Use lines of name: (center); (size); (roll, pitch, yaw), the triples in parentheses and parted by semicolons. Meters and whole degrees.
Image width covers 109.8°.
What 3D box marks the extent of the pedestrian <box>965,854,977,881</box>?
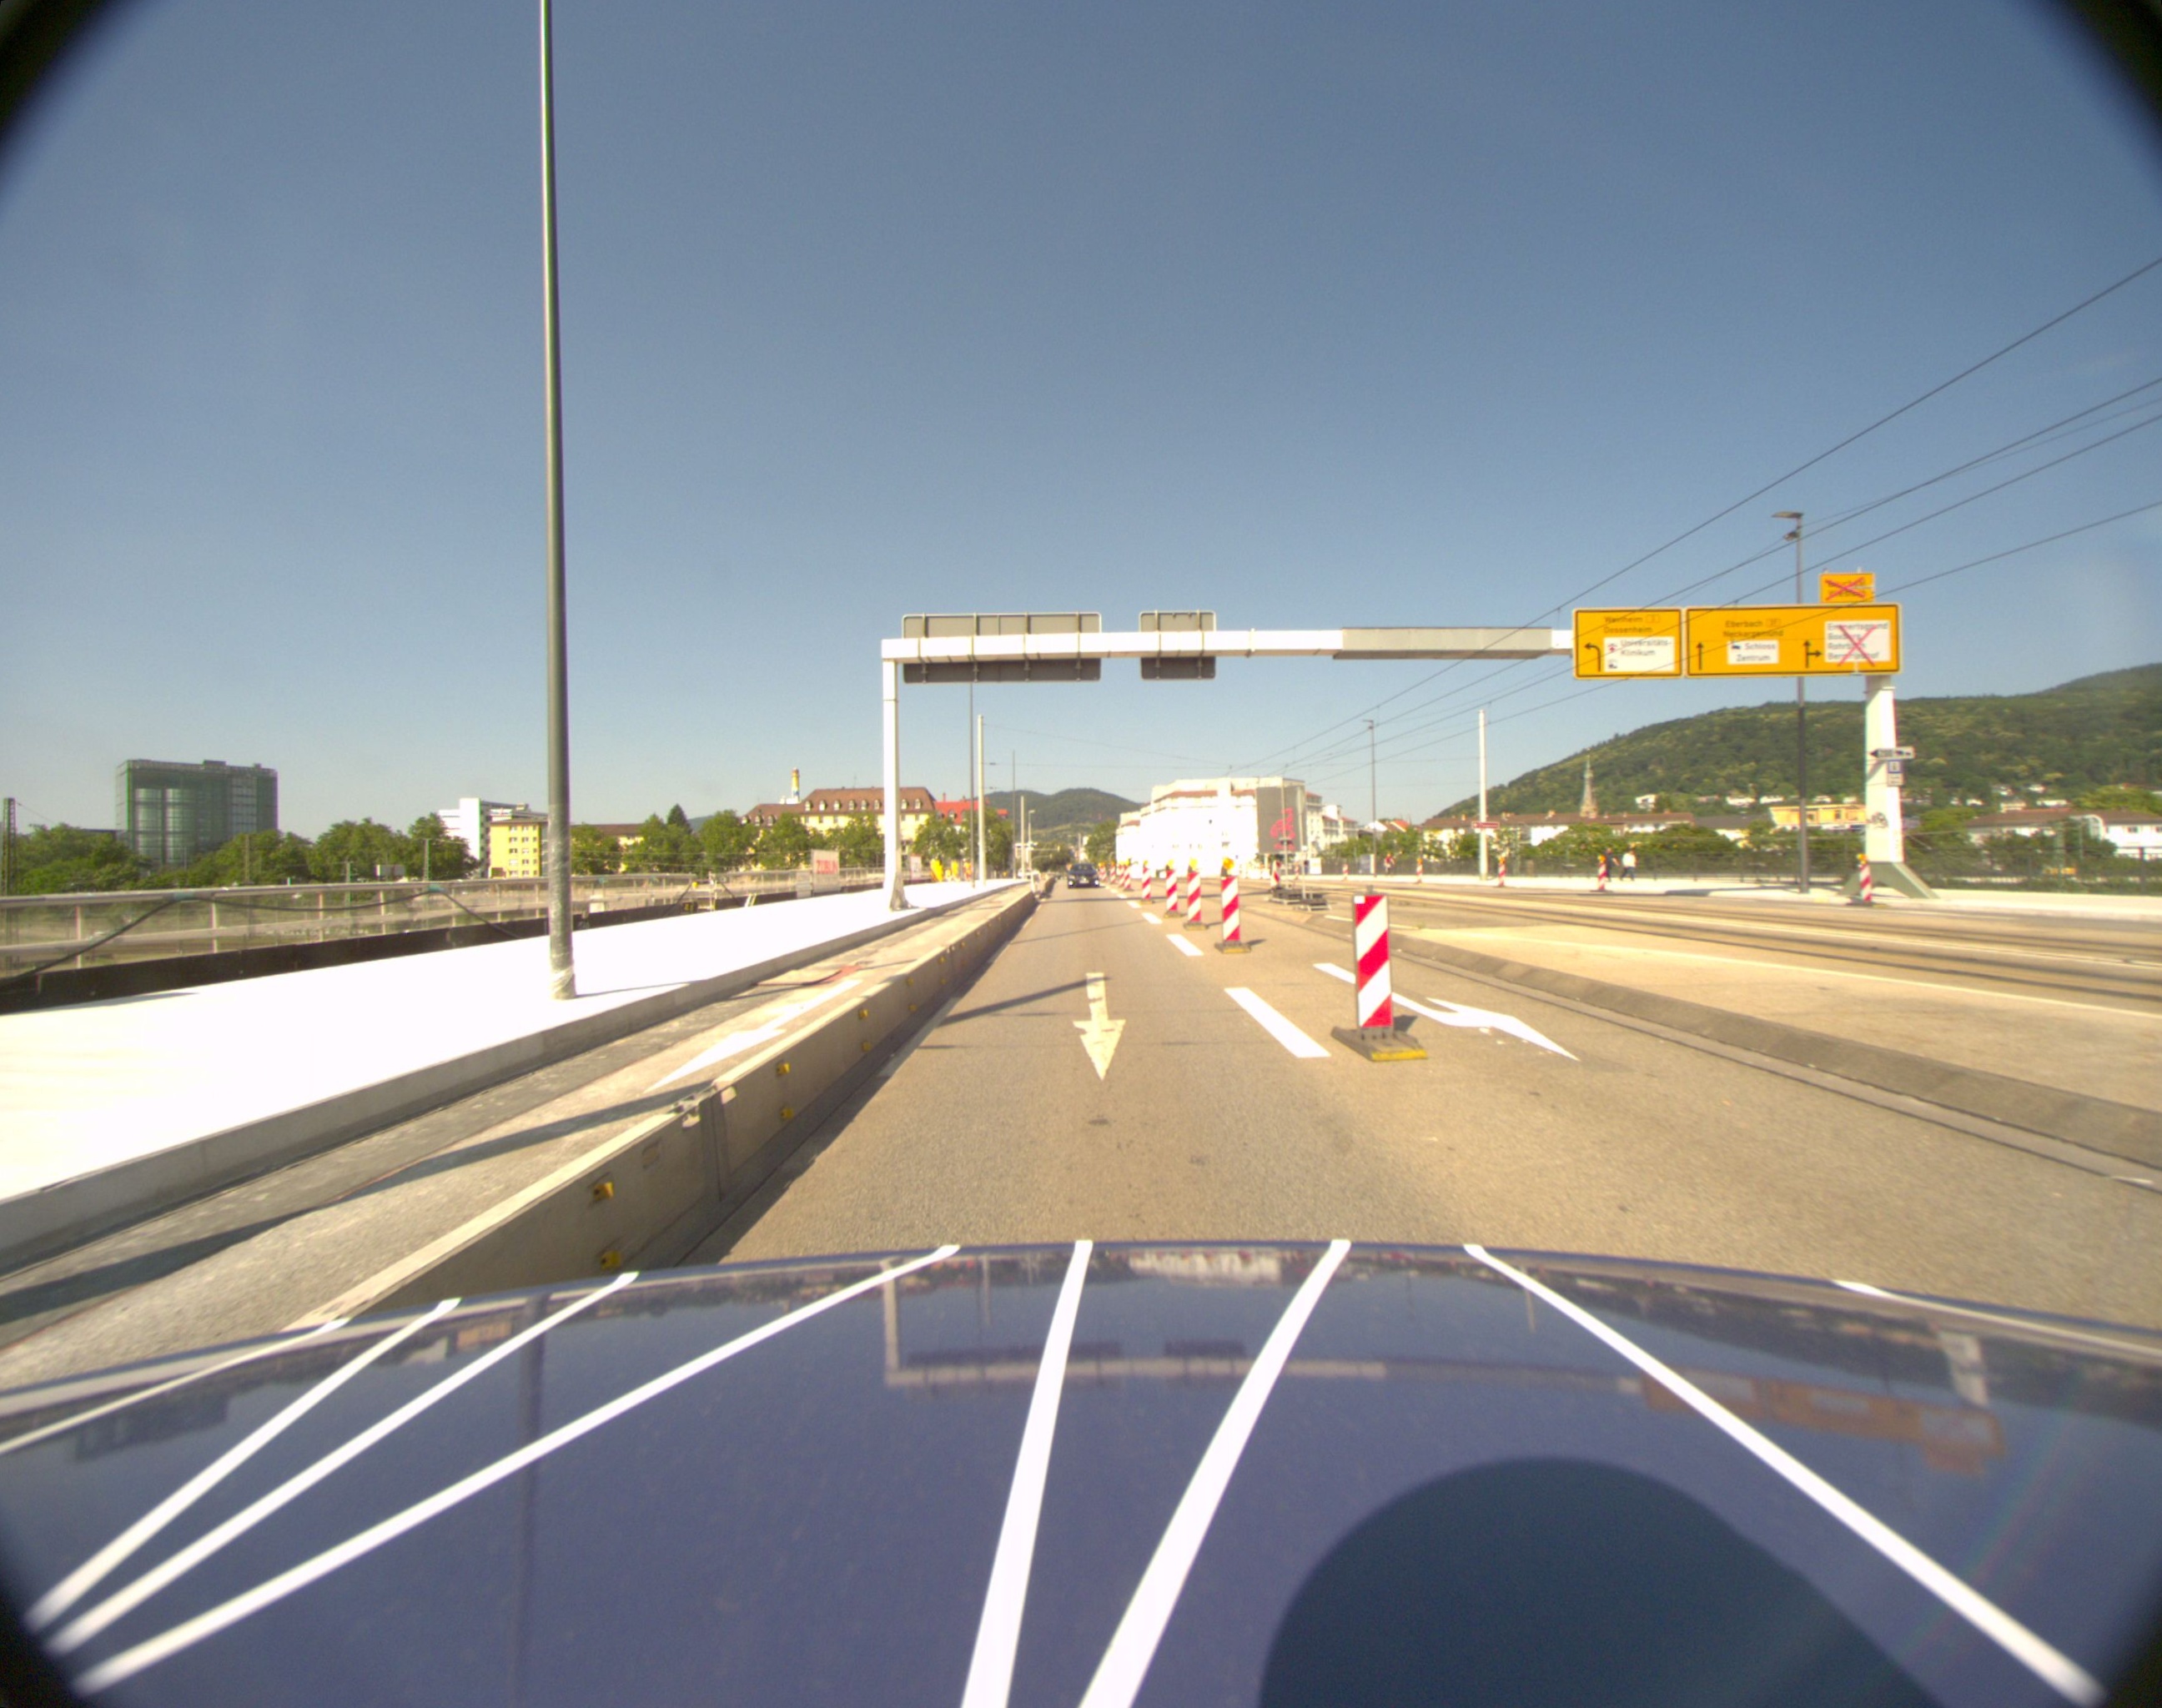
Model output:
pedestrian: (-8.236, 1.016, 56.887); (0.733, 1.953, 1.016); (0, 0, -1)

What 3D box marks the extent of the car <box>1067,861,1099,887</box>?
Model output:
car: (0.139, 1.113, 44.068); (1.698, 1.388, 4.363); (-3, 0, 1)

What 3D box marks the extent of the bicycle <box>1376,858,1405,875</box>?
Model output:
bicycle: (23.955, 0.965, 58.889); (0.858, 1.187, 3.072); (-2, -1, -2)

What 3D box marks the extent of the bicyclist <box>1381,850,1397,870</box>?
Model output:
bicyclist: (23.935, 0.492, 59.033); (0.858, 1.510, 0.817); (-2, 0, -2)

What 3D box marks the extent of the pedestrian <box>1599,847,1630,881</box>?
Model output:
pedestrian: (25.885, 0.489, 36.880); (0.745, 1.632, 0.895); (-3, 0, -2)

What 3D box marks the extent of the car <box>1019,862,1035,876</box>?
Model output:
car: (-8.349, 2.313, 117.127); (1.938, 2.077, 6.472); (-1, -2, 0)

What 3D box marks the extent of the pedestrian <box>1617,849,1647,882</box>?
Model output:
pedestrian: (26.766, 0.547, 36.897); (0.721, 1.535, 0.889); (-3, 0, -2)
